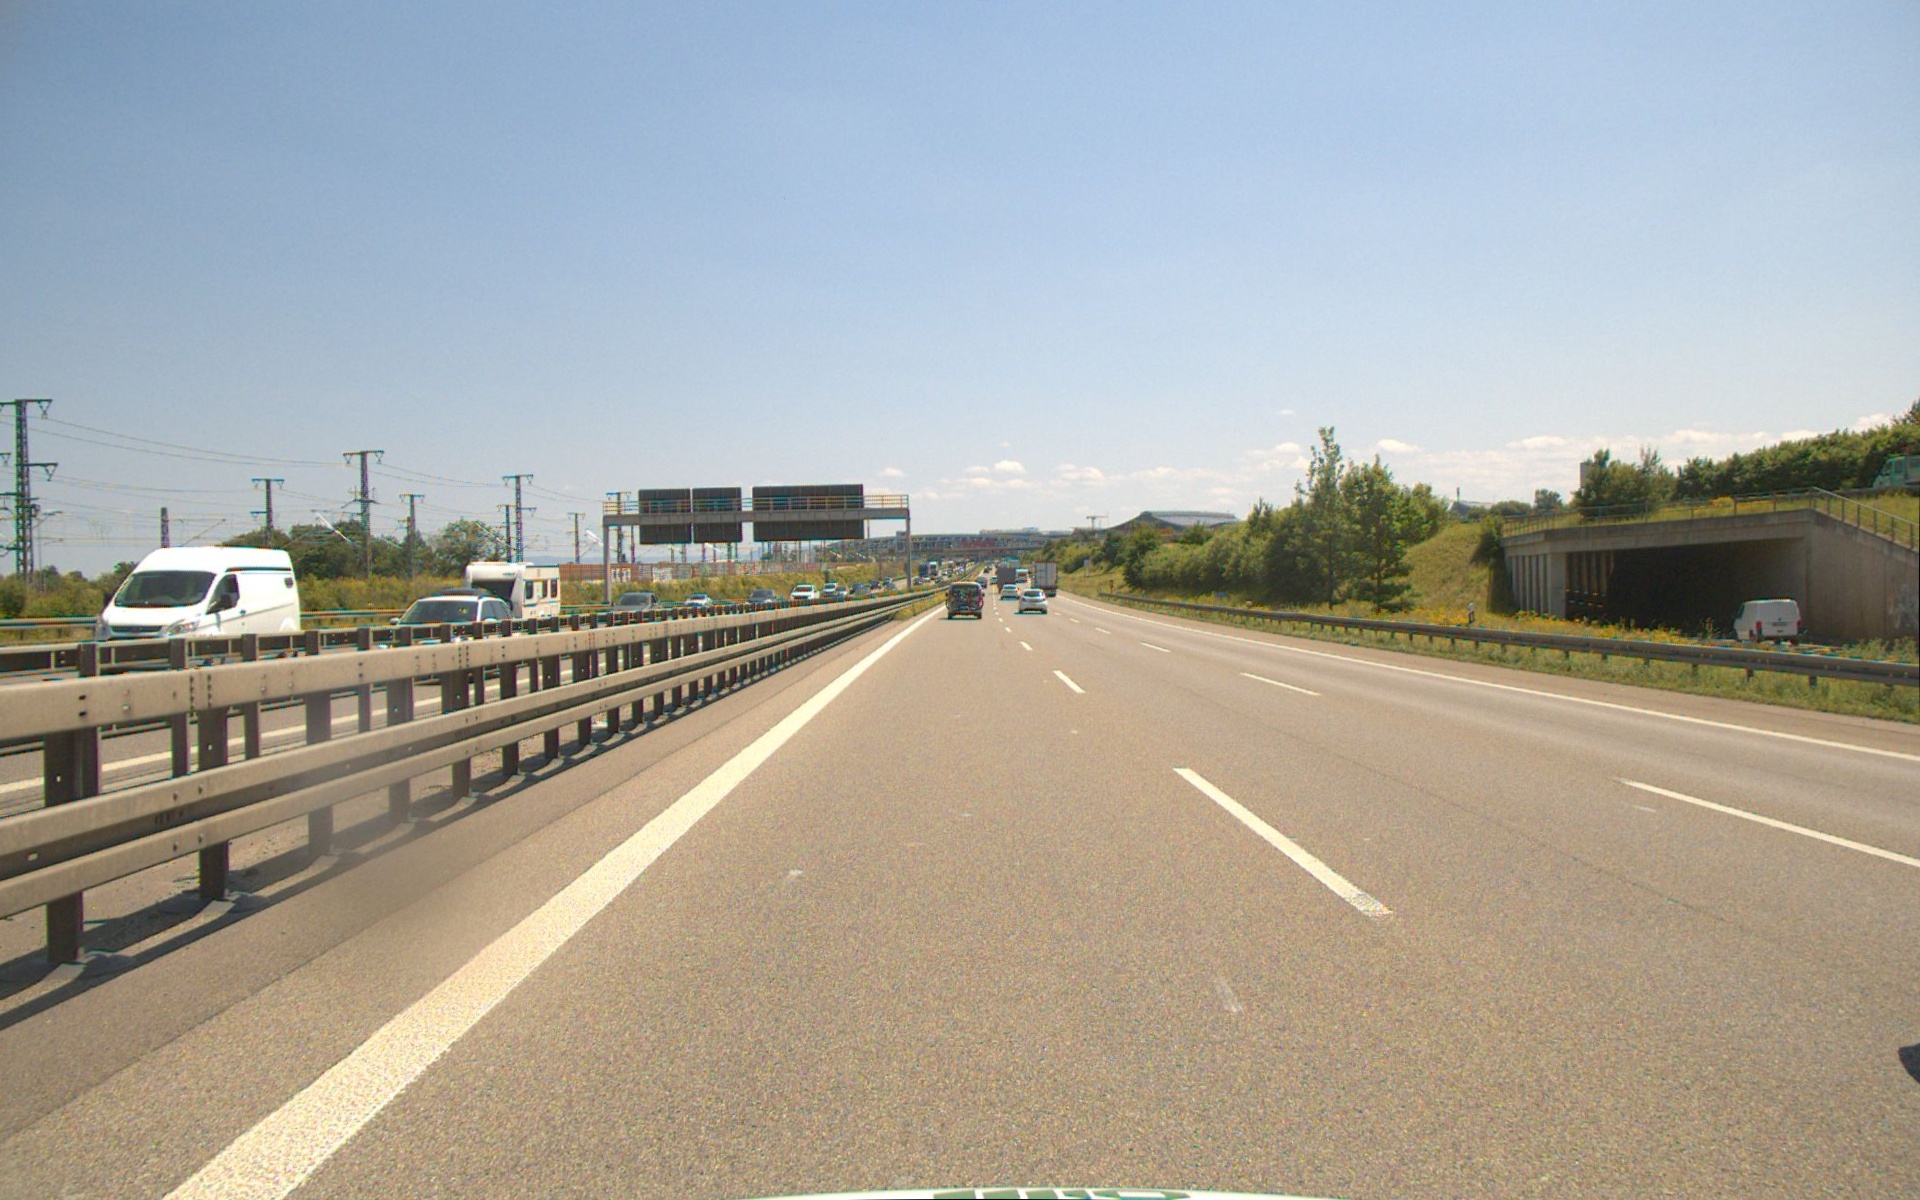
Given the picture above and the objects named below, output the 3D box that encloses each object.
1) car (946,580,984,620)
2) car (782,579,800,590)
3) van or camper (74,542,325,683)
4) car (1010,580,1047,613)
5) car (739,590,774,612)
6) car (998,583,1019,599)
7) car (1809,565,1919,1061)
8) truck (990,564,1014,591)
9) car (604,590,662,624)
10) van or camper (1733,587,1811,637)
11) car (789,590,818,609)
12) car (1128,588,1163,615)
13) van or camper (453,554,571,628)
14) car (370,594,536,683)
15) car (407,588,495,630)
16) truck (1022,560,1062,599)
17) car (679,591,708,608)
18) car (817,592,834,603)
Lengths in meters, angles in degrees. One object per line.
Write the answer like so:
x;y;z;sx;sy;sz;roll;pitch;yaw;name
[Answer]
0.236;0.025;84.281;1.887;1.952;4.947;0;-1;0;car
-21.868;-1.954;214.288;1.907;1.370;3.999;0;0;-1;car
-13.818;0.200;30.525;1.953;2.340;5.893;0;0;-1;van or camper
4.168;-0.183;100.742;1.888;1.952;4.515;0;-1;-3;car
-12.757;0.058;103.686;1.729;1.370;3.999;0;0;-1;car
4.860;-0.904;165.028;1.941;1.499;3.999;0;-1;-1;car
4.218;0.699;3.828;1.860;1.676;4.997;0;-1;-1;car
5.413;-2.830;213.998;2.647;3.163;10.656;0;-1;-1;truck
-13.712;0.265;69.529;1.659;1.370;3.999;0;0;-1;car
35.028;0.536;71.456;2.110;2.049;4.307;0;-1;13;van or camper
-11.948;-0.046;126.572;1.907;1.370;3.999;0;0;-1;car
13.684;0.119;122.129;1.888;1.952;4.515;0;-1;-3;car
-17.355;-0.342;64.567;2.466;2.712;8.063;0;0;-1;van or camper
-9.051;0.634;29.871;1.664;1.490;4.436;0;0;-1;car
-17.456;0.283;56.937;1.729;1.370;4.381;0;0;-1;car
9.454;-2.481;192.452;3.957;4.336;11.757;0;2;-1;truck
-21.311;-0.066;132.435;1.729;1.370;3.999;0;0;-1;car
-17.277;-0.381;212.059;1.907;1.370;3.999;0;0;-1;car
